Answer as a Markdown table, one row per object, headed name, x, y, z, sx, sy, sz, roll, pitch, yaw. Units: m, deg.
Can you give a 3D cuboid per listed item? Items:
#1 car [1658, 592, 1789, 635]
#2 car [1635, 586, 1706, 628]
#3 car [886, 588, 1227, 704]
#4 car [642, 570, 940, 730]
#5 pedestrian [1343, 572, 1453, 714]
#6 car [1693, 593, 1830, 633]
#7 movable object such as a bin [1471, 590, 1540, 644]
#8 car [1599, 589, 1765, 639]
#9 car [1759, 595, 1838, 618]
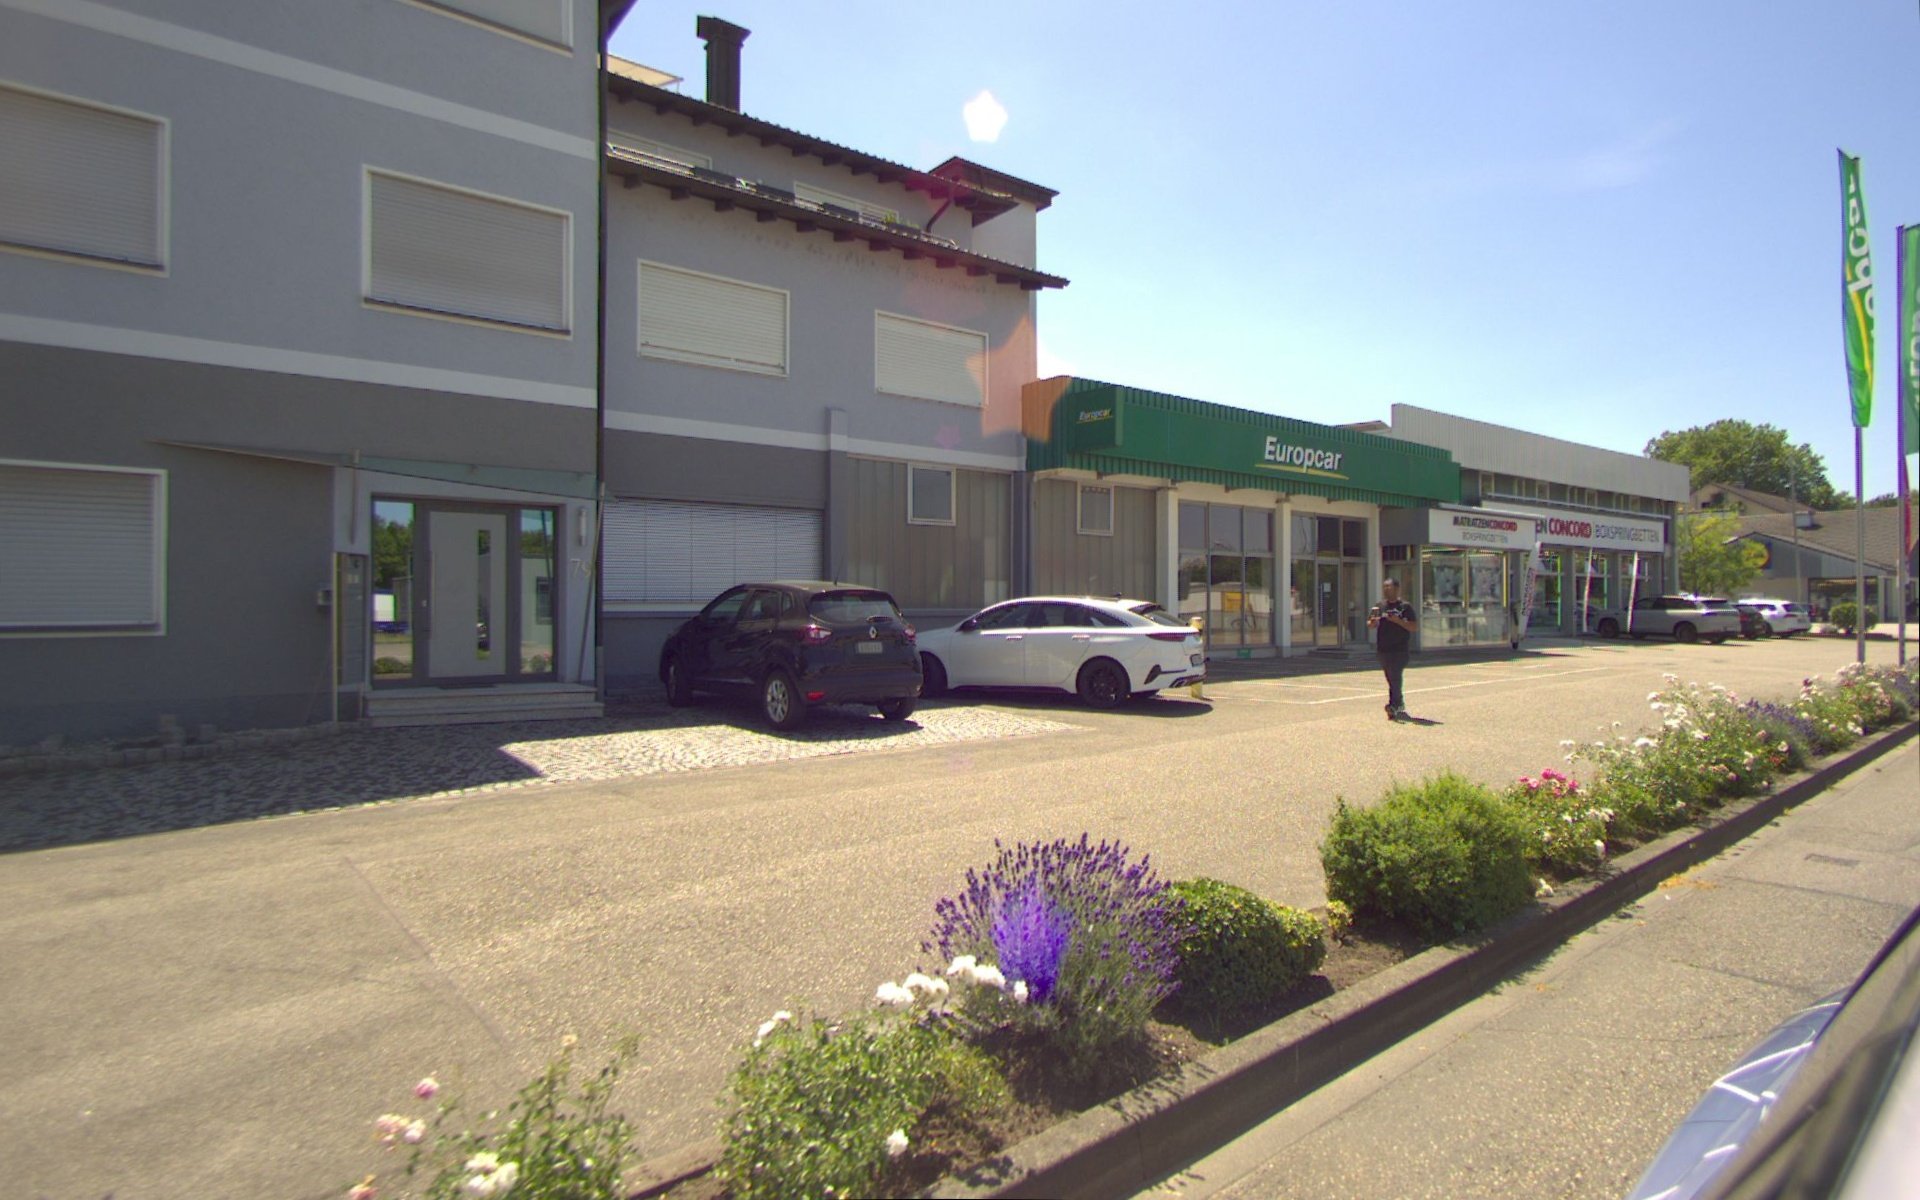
| name | x | y | z | sx | sy | sz | roll | pitch | yaw |
| --- | --- | --- | --- | --- | --- | --- | --- | --- | --- |
| car | 30.070 | 0.479 | 39.987 | 1.643 | 1.552 | 3.875 | 0 | 1 | -21 |
| car | 33.812 | 0.288 | 48.154 | 4.180 | 1.914 | 1.709 | -1 | 0 | -39 |
| car | 1.305 | 0.547 | 13.992 | 4.317 | 1.388 | 1.937 | 0 | 0 | 28 |
| car | -2.176 | 0.448 | 12.168 | 1.766 | 1.569 | 3.995 | 0 | 2 | -40 |
| pedestrian | 5.420 | 0.488 | 12.519 | 0.991 | 1.661 | 0.843 | 0 | 1 | -35 |
| car | 32.308 | 0.485 | 40.920 | 1.768 | 1.479 | 4.007 | 0 | 1 | -24 |
| movable object such as a bin | 15.680 | 0.480 | 29.103 | 0.688 | 1.440 | 1.570 | 1 | 2 | -32 |
| car | 26.058 | 0.440 | 36.728 | 1.958 | 1.662 | 4.606 | 0 | 1 | -21 |
| car | 54.198 | 0.416 | 65.454 | 1.640 | 1.435 | 3.608 | 0 | -1 | -35 |
